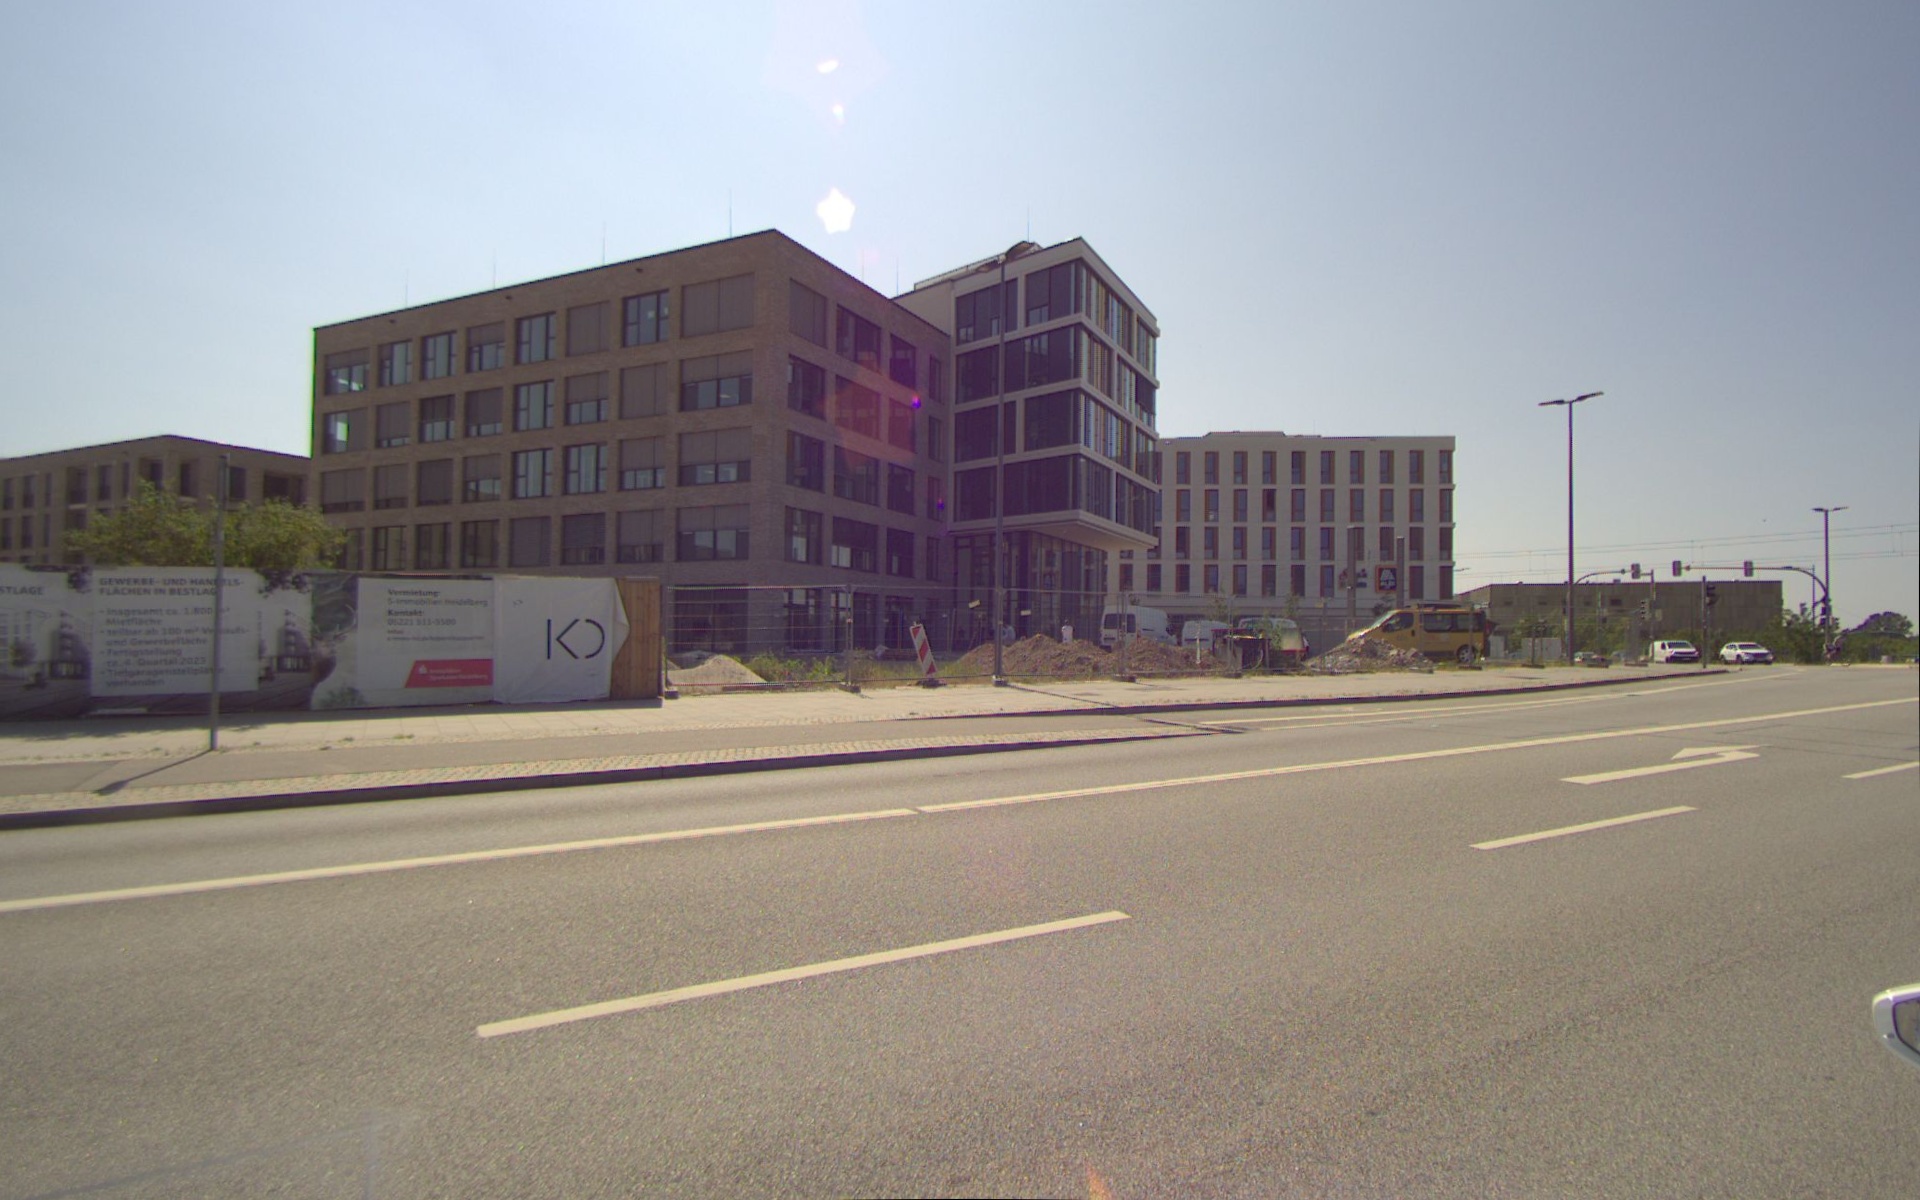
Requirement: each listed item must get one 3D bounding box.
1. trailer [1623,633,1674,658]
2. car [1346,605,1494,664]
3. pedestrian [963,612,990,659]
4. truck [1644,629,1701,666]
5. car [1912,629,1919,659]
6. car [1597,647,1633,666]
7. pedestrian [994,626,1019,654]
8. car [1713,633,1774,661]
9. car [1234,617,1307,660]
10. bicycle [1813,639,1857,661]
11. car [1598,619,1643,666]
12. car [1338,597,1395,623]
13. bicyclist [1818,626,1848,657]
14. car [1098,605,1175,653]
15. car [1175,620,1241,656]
[{"bbox_3d":[54.723,3.596,79.954,1.960,1.799,4.288,2,0,14],"label":"trailer"},{"bbox_3d":[16.349,1.214,35.919,4.395,1.915,2.001,2,0,9],"label":"car"},{"bbox_3d":[0.752,1.603,45.568,0.949,2.040,0.940,2,0,-16],"label":"pedestrian"},{"bbox_3d":[53.624,3.539,75.692,1.960,2.574,4.711,1,-1,14],"label":"truck"},{"bbox_3d":[52.592,2.325,52.359,1.651,1.571,3.967,2,-2,-22],"label":"car"},{"bbox_3d":[56.307,4.807,86.409,1.633,1.408,3.788,1,0,18],"label":"car"},{"bbox_3d":[2.399,2.041,51.702,1.098,1.391,0.742,2,0,-16],"label":"pedestrian"},{"bbox_3d":[55.827,3.297,71.692,1.892,1.839,4.049,1,-1,13],"label":"car"},{"bbox_3d":[13.802,1.675,44.423,1.967,1.730,4.550,1,0,32],"label":"car"},{"bbox_3d":[46.716,2.686,53.676,0.567,1.082,1.870,2,0,-6],"label":"bicycle"},{"bbox_3d":[30.873,1.962,47.009,1.646,2.040,3.990,1,0,32],"label":"car"},{"bbox_3d":[33.990,0.807,84.139,1.986,2.040,3.949,2,0,-43],"label":"car"},{"bbox_3d":[46.731,2.225,53.754,0.931,1.631,0.773,2,0,-6],"label":"bicyclist"},{"bbox_3d":[8.291,1.352,46.955,2.175,2.083,4.164,1,0,30],"label":"car"},{"bbox_3d":[11.345,1.688,45.778,1.774,1.528,3.991,1,0,32],"label":"car"}]
